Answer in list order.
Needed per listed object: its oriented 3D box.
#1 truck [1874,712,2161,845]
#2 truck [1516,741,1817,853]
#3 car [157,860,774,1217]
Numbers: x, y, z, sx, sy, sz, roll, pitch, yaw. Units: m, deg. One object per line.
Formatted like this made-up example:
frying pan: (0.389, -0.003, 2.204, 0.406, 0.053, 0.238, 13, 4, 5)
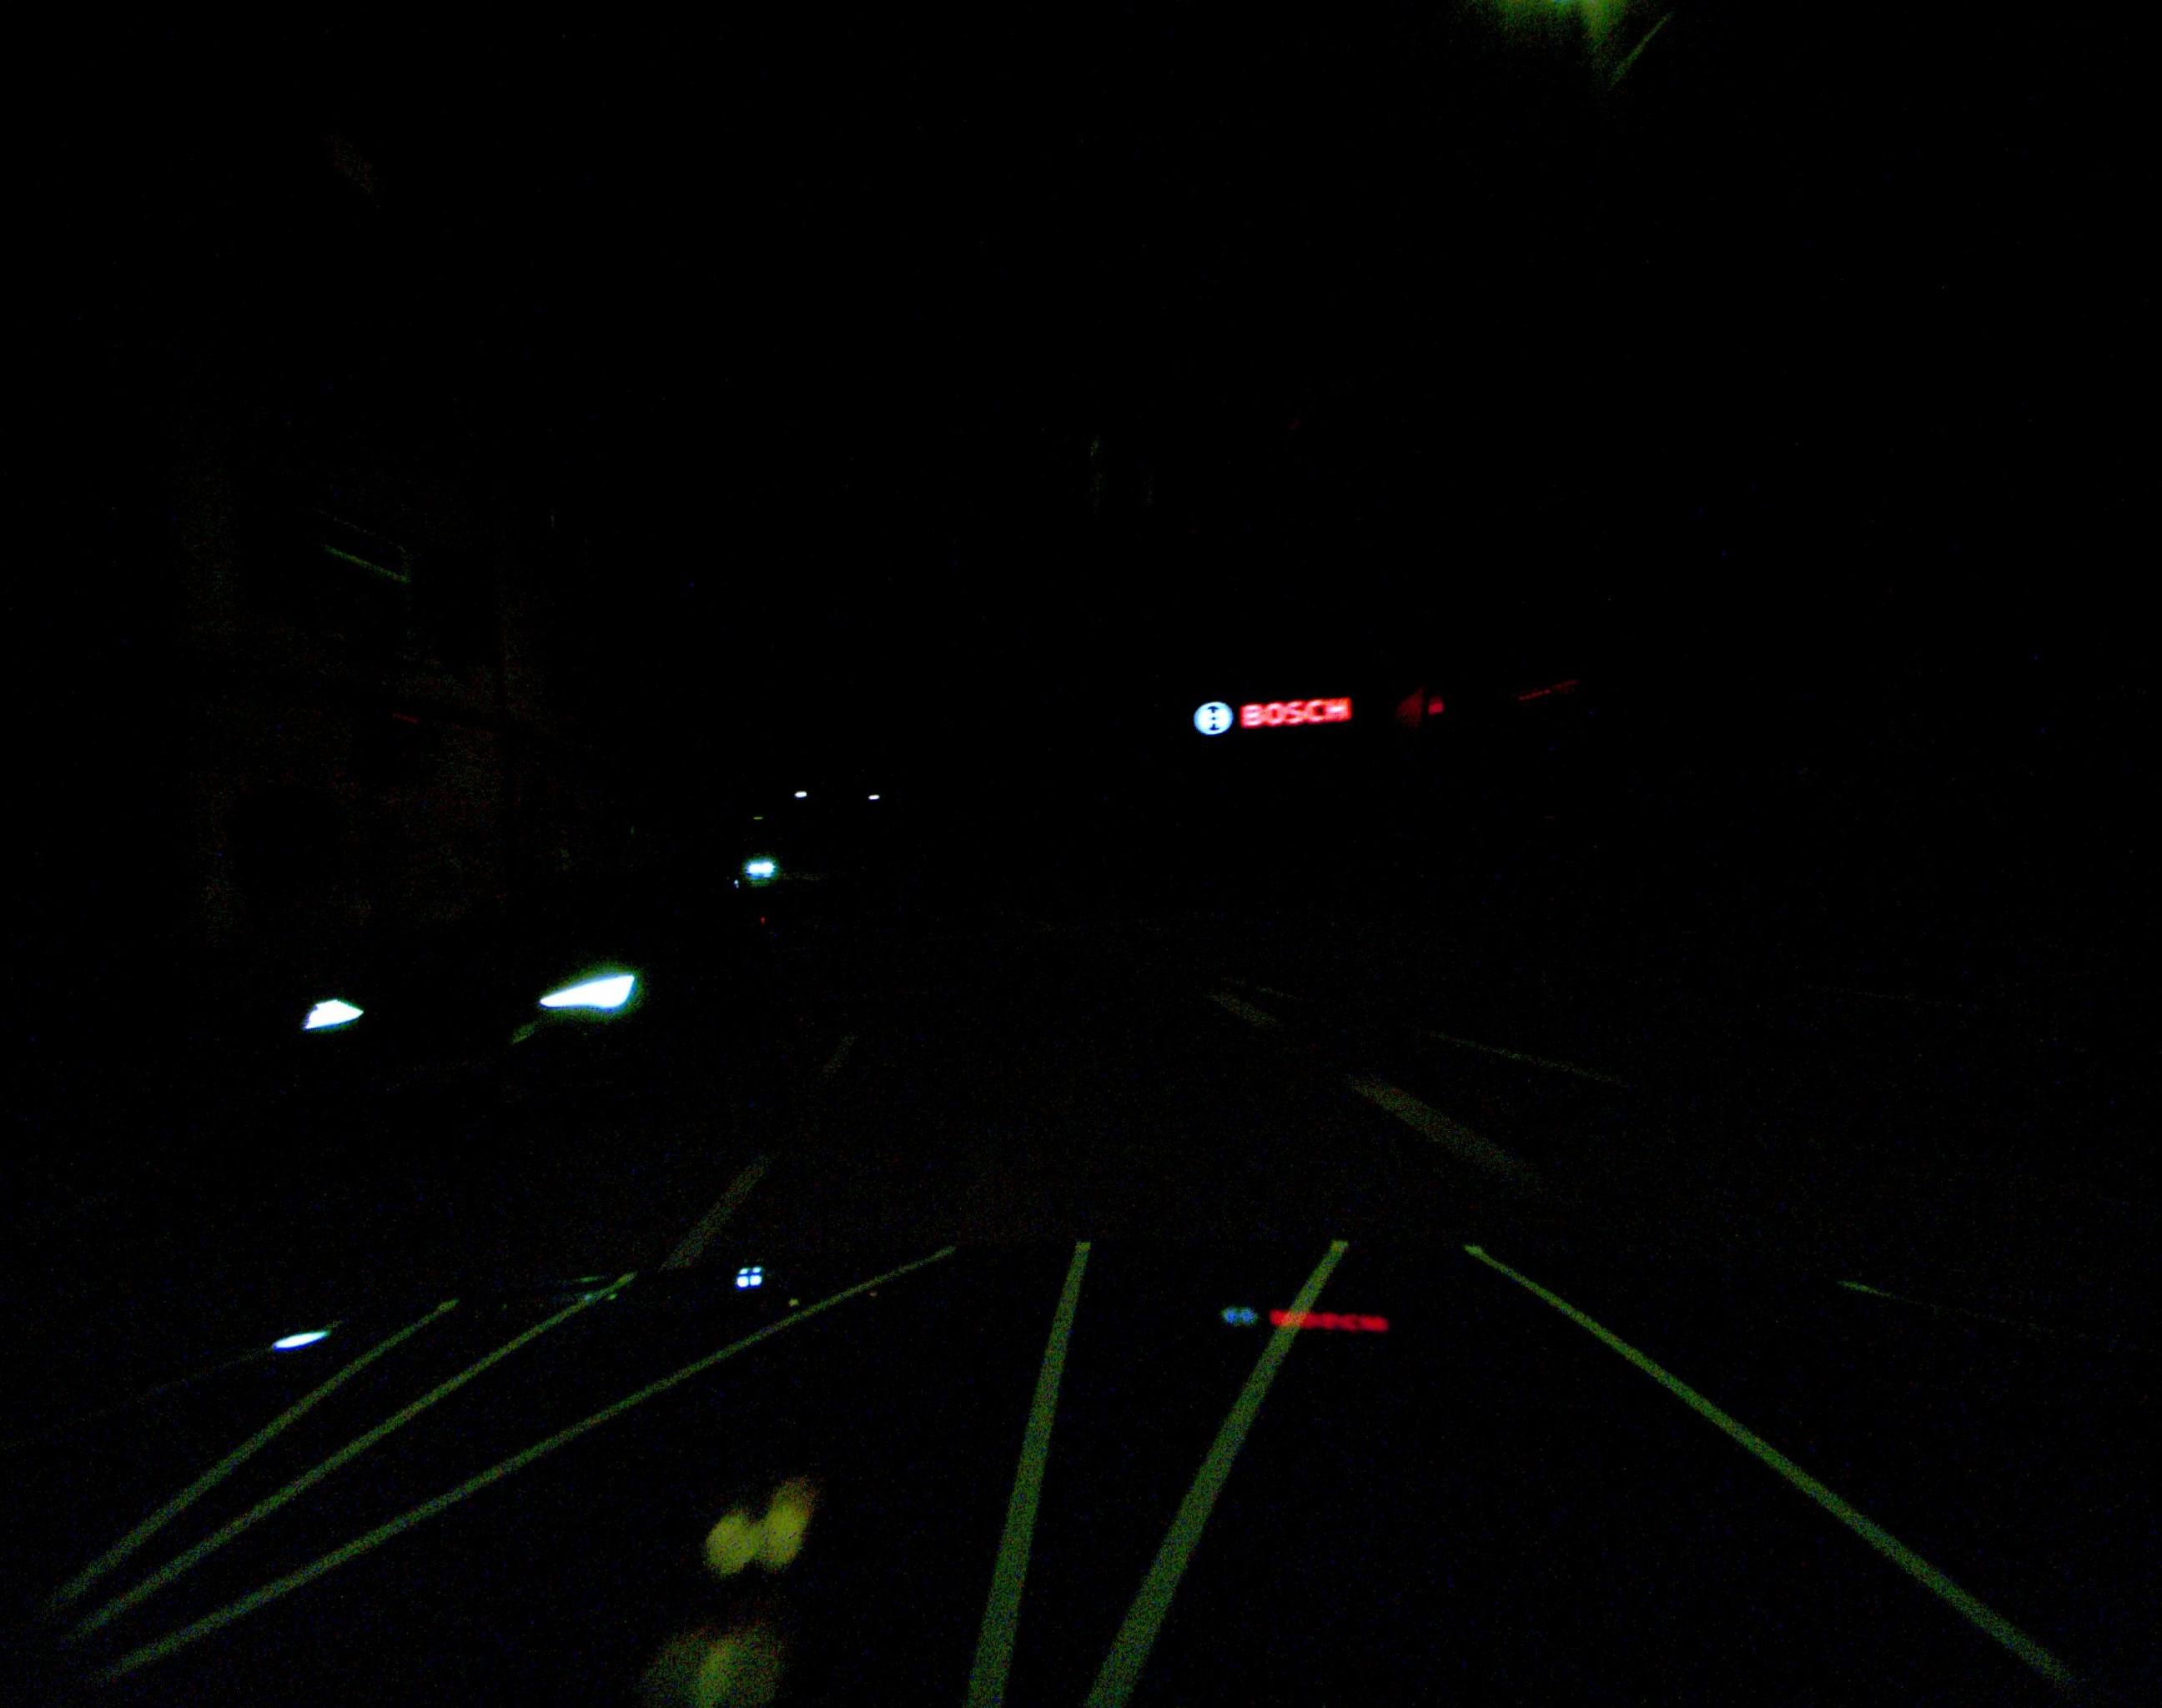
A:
truck: (30.872, -2.332, 25.034, 6.190, 3.673, 2.405, -3, 2, 38)
truck: (23.197, -2.082, 30.778, 9.333, 3.701, 2.003, -2, 2, 41)
car: (-3.892, 0.931, 5.896, 2.000, 1.607, 3.995, -3, 1, -11)
